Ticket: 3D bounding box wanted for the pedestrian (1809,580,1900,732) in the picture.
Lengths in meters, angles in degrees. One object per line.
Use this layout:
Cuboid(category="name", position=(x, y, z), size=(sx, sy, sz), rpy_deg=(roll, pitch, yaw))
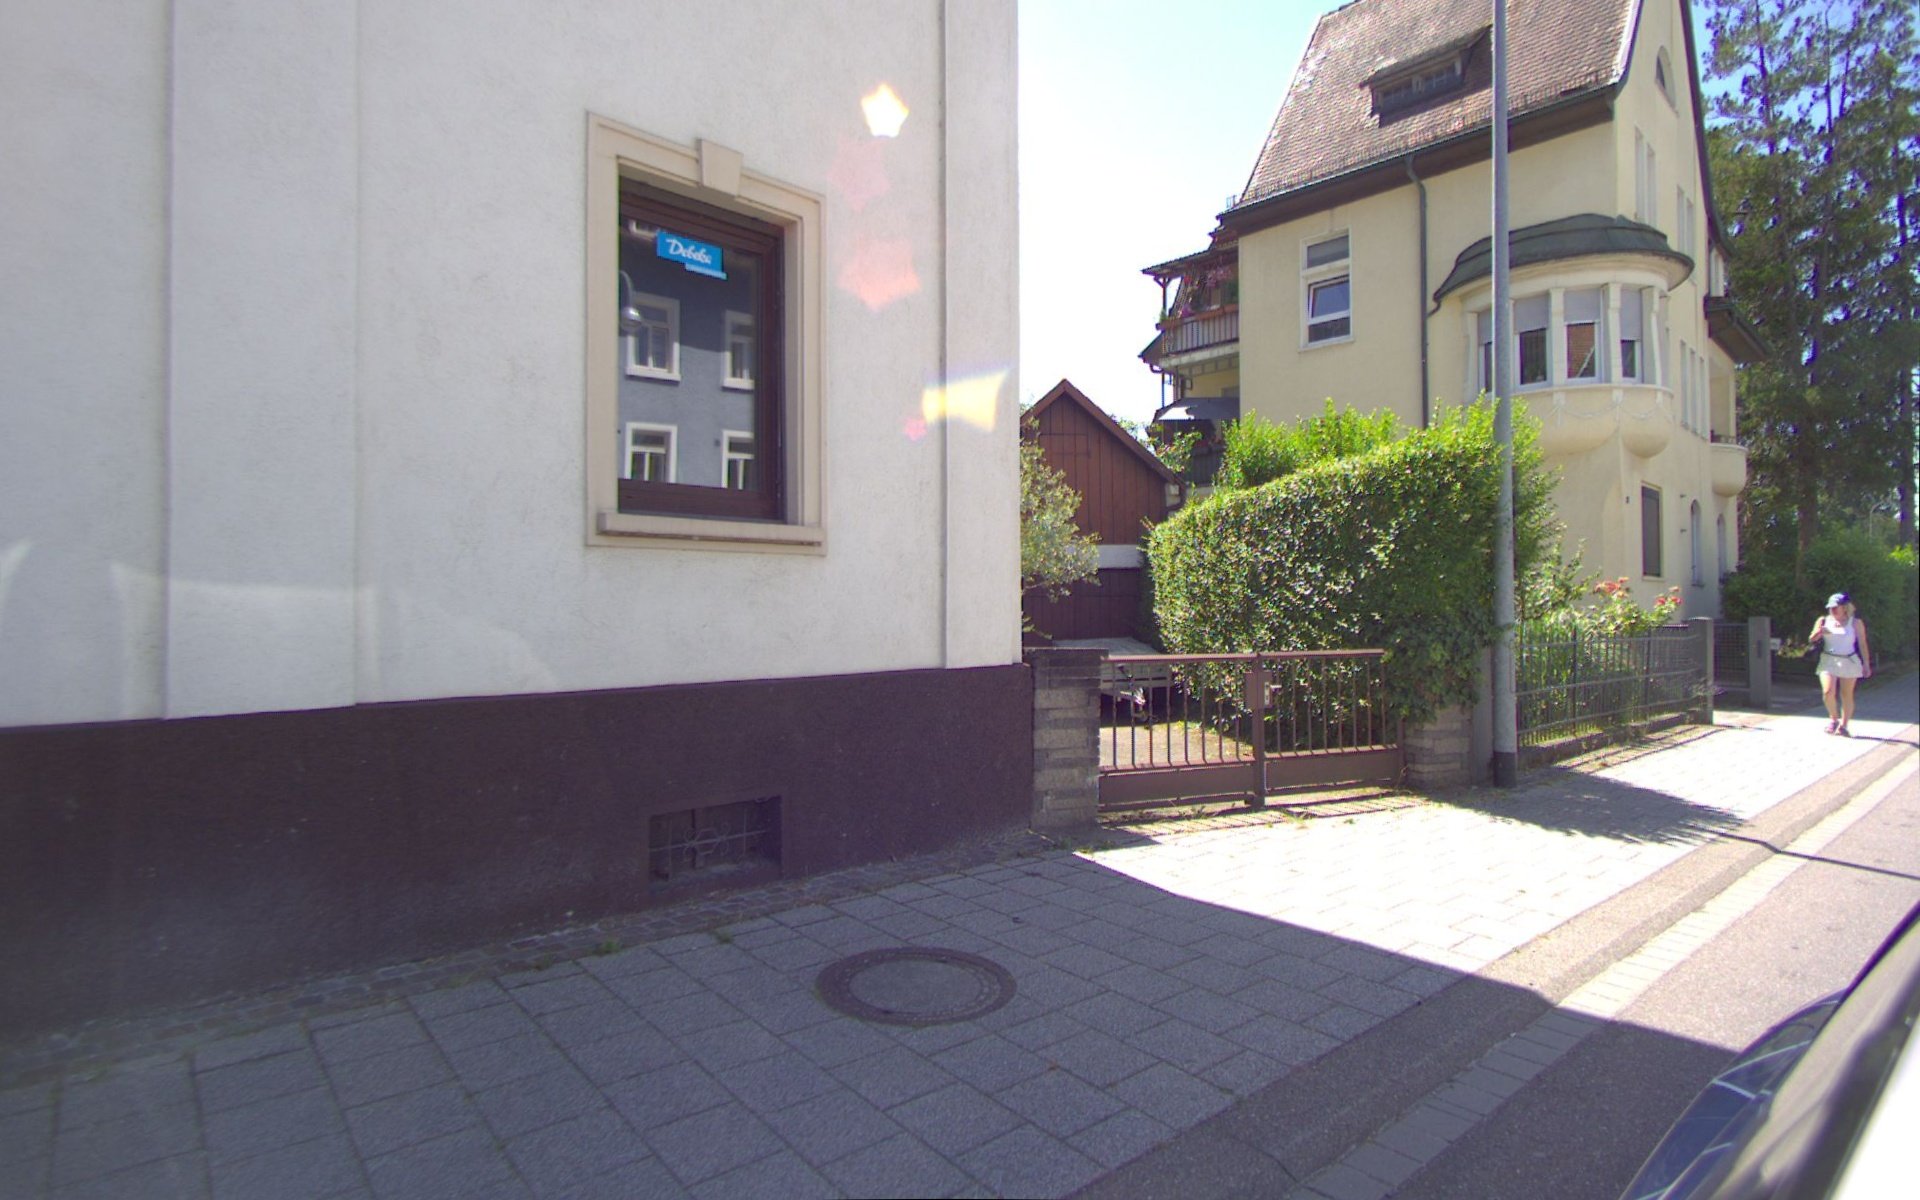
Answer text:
Cuboid(category="pedestrian", position=(10.373, 0.618, 11.734), size=(0.759, 1.663, 0.624), rpy_deg=(0, 4, -44))
